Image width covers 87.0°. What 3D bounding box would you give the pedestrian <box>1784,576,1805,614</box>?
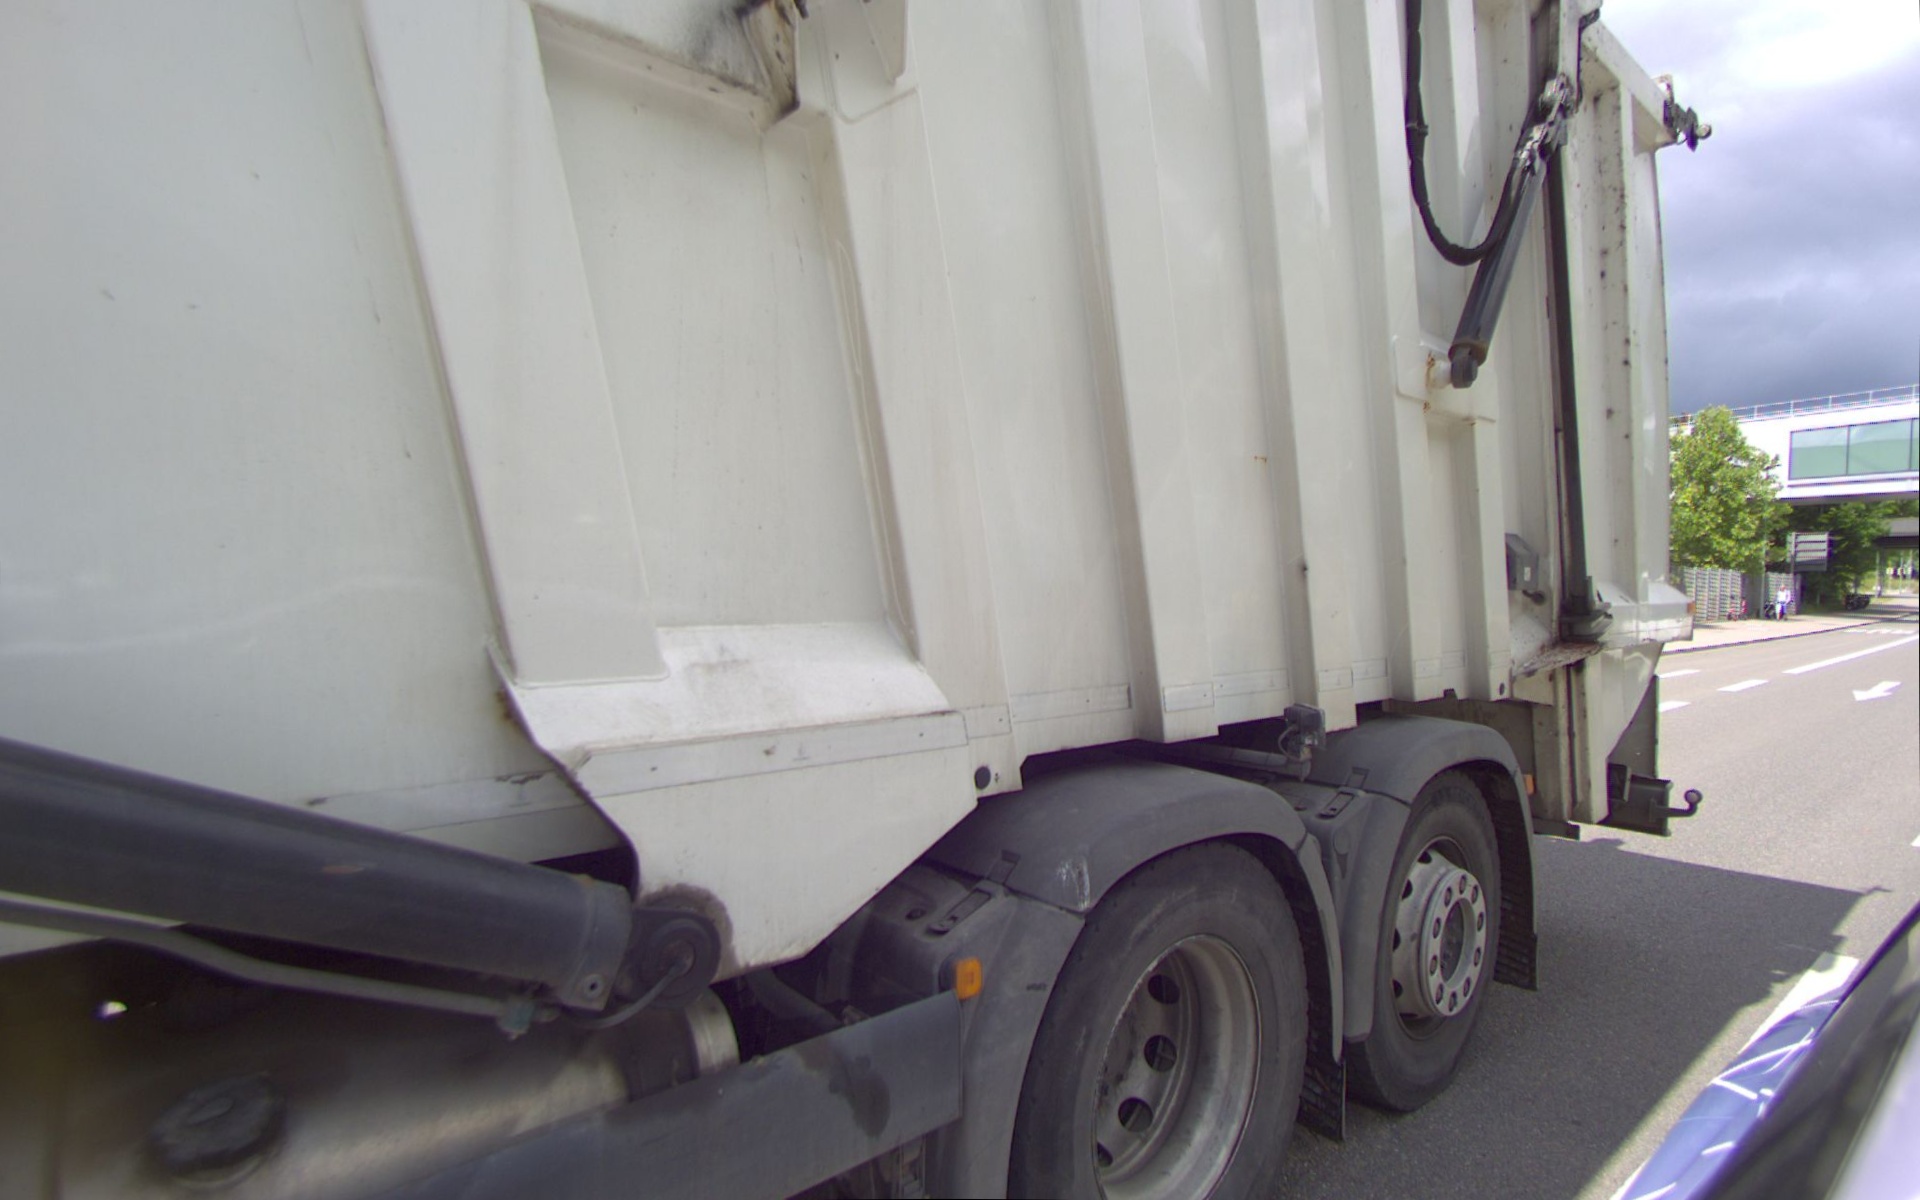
[{"bbox_3d":[42.925,-0.272,52.047,0.647,1.936,0.738,0,0,-42],"label":"pedestrian"}]

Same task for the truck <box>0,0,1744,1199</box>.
[{"bbox_3d":[-0.643,-0.527,2.626,9.999,3.962,2.492,-1,0,-42],"label":"truck"}]
